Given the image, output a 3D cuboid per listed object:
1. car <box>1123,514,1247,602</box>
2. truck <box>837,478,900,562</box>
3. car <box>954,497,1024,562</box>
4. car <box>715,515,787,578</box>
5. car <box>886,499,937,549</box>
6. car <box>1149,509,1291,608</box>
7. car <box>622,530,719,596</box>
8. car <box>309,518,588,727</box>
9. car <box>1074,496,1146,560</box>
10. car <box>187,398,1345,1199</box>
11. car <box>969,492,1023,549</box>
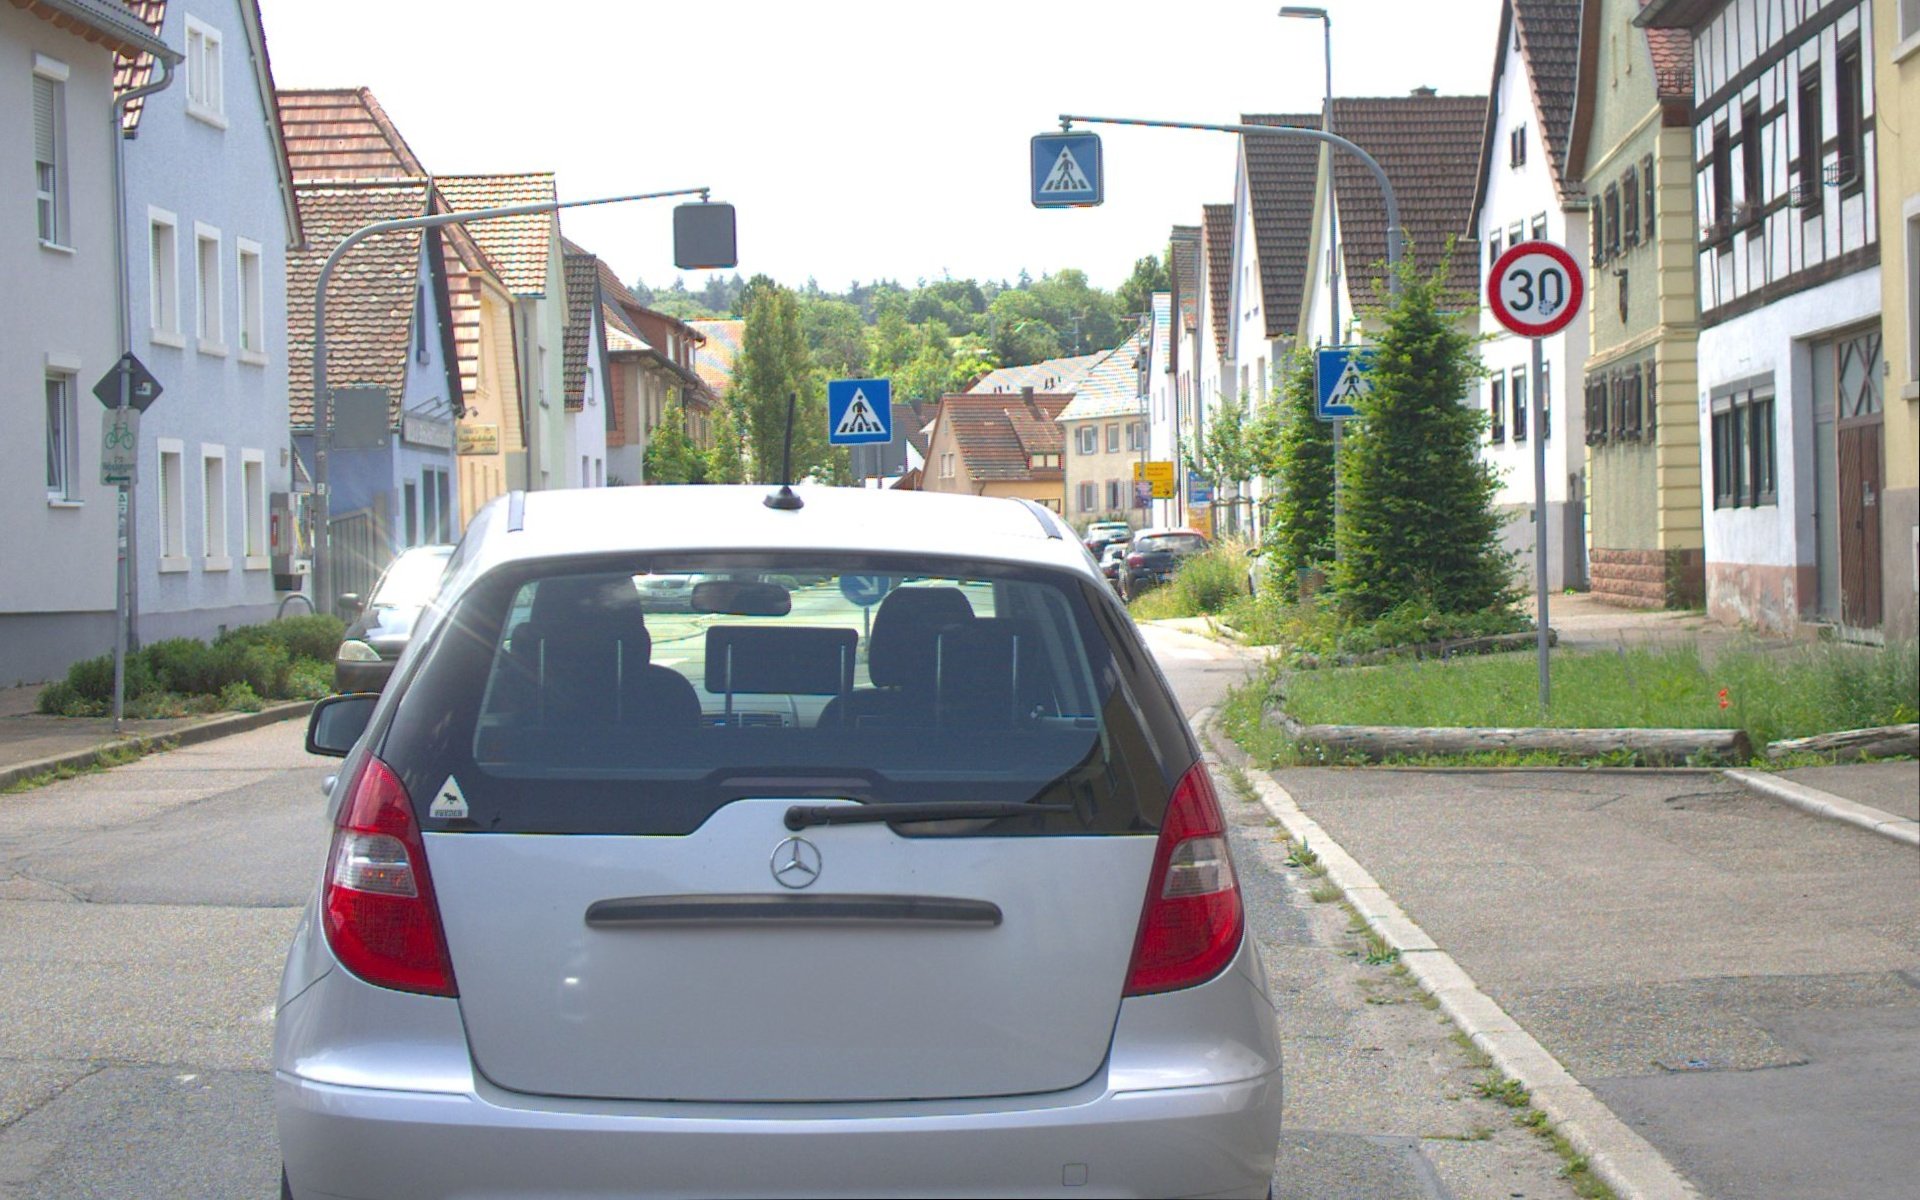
[{"bbox_3d":[4.050,-0.741,62.312,1.993,1.503,4.000,0,-1,0],"label":"car"},{"bbox_3d":[-2.993,-2.602,113.716,1.993,2.528,6.739,0,-1,-1],"label":"truck"},{"bbox_3d":[0.840,-2.063,101.693,1.993,1.810,4.000,0,-1,-1],"label":"car"},{"bbox_3d":[-5.568,-1.414,91.931,1.667,1.590,4.000,0,-1,0],"label":"car"},{"bbox_3d":[-2.016,-3.191,145.195,1.993,2.007,4.000,0,-1,2],"label":"car"},{"bbox_3d":[4.153,-0.646,55.479,1.993,1.503,4.000,0,-1,0],"label":"car"},{"bbox_3d":[-6.152,-0.769,73.009,1.993,1.317,3.709,0,-1,-5],"label":"car"},{"bbox_3d":[-4.016,0.183,27.520,1.500,1.535,3.856,1,0,2],"label":"car"},{"bbox_3d":[4.594,-2.198,105.729,1.993,1.810,4.000,0,-1,-1],"label":"car"},{"bbox_3d":[-0.514,0.499,7.290,1.810,1.638,3.730,1,1,-7],"label":"car"},{"bbox_3d":[1.357,-3.026,131.610,1.993,2.007,4.000,0,-1,0],"label":"car"}]
